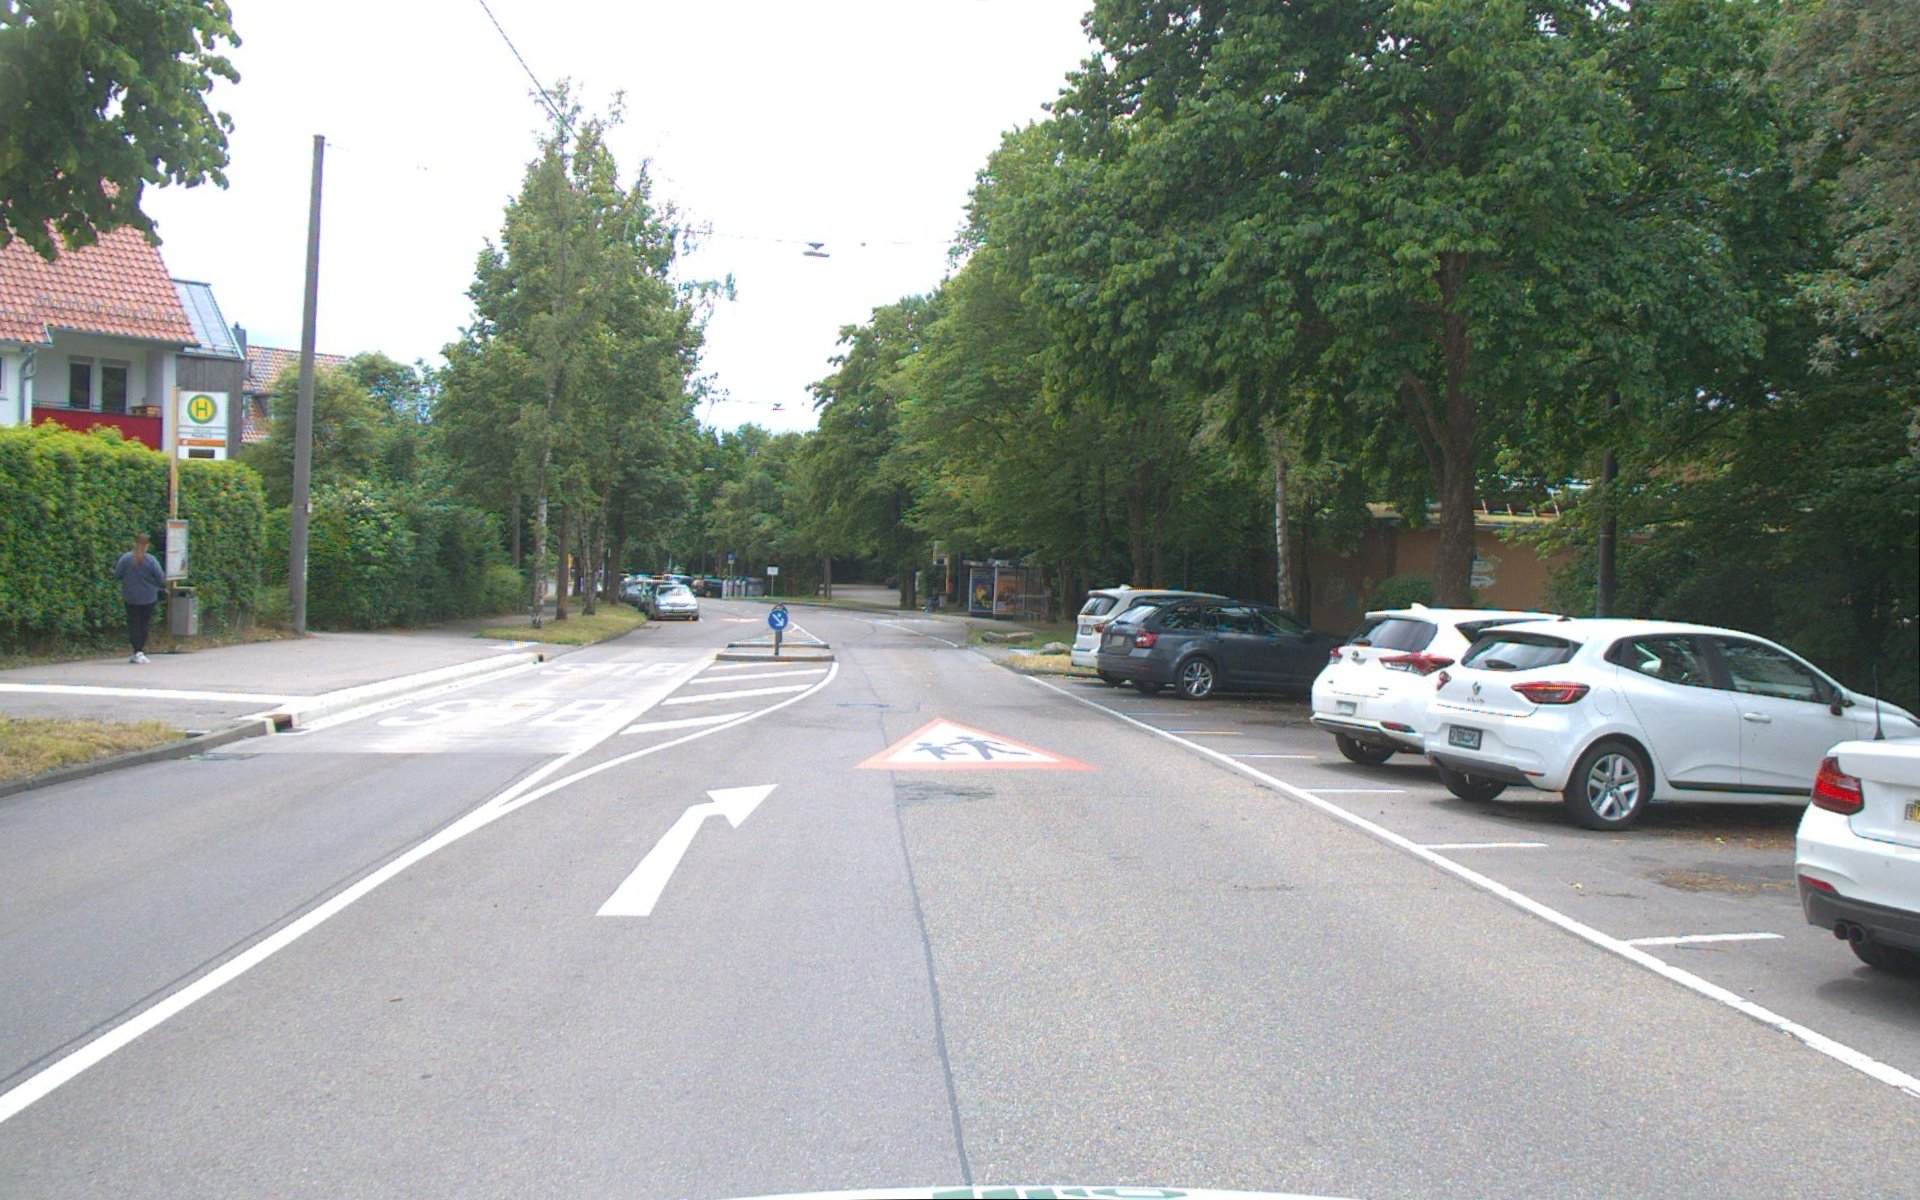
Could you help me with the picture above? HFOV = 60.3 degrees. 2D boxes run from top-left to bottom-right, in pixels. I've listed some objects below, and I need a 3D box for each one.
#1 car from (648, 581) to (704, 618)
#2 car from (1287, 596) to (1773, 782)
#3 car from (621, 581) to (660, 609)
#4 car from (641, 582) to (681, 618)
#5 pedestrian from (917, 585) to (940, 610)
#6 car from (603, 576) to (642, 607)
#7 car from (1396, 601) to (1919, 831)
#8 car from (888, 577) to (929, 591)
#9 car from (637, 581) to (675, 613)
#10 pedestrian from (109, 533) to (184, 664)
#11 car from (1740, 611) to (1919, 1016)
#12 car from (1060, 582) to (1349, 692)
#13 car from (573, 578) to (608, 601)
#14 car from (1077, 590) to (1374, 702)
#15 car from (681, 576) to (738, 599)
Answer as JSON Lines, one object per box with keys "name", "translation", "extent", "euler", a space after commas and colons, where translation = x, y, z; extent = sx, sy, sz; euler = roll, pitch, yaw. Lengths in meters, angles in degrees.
{"name": "car", "translation": [-11.558, -0.032, 67.109], "extent": [1.708, 1.441, 4.452], "euler": [0, 1, -16]}
{"name": "car", "translation": [5.213, 0.812, 15.200], "extent": [3.929, 1.489, 1.855], "euler": [3, 0, -21]}
{"name": "car", "translation": [-18.515, -0.280, 95.648], "extent": [1.836, 1.565, 4.208], "euler": [0, 1, -16]}
{"name": "car", "translation": [-13.219, -0.021, 73.067], "extent": [1.704, 1.565, 4.179], "euler": [0, 1, -11]}
{"name": "pedestrian", "translation": [-1.560, -0.135, 82.457], "extent": [1.046, 1.203, 0.577], "euler": [0, 0, -16]}
{"name": "car", "translation": [-21.476, -0.568, 105.177], "extent": [1.829, 1.942, 5.056], "euler": [0, 1, -18]}
{"name": "car", "translation": [5.515, 0.854, 12.472], "extent": [3.922, 1.489, 1.789], "euler": [3, 0, -16]}
{"name": "car", "translation": [-5.390, -1.665, 173.354], "extent": [3.926, 1.434, 1.790], "euler": [0, 1, -19]}
{"name": "car", "translation": [-15.573, -0.167, 84.528], "extent": [1.706, 1.606, 4.127], "euler": [0, 1, -13]}
{"name": "pedestrian", "translation": [-11.110, -0.022, 22.604], "extent": [0.679, 1.740, 0.776], "euler": [2, 0, -11]}
{"name": "car", "translation": [5.421, 0.894, 6.933], "extent": [3.938, 1.489, 1.835], "euler": [3, 0, -27]}
{"name": "car", "translation": [4.087, 0.615, 27.872], "extent": [4.392, 1.613, 1.900], "euler": [3, 0, -14]}
{"name": "car", "translation": [-26.987, -0.757, 120.689], "extent": [1.780, 1.590, 4.237], "euler": [-3, 2, -23]}
{"name": "car", "translation": [4.023, 0.698, 25.158], "extent": [4.070, 1.489, 1.789], "euler": [3, 0, -19]}
{"name": "car", "translation": [-19.514, -0.953, 128.967], "extent": [3.969, 1.438, 2.025], "euler": [4, 0, -44]}
